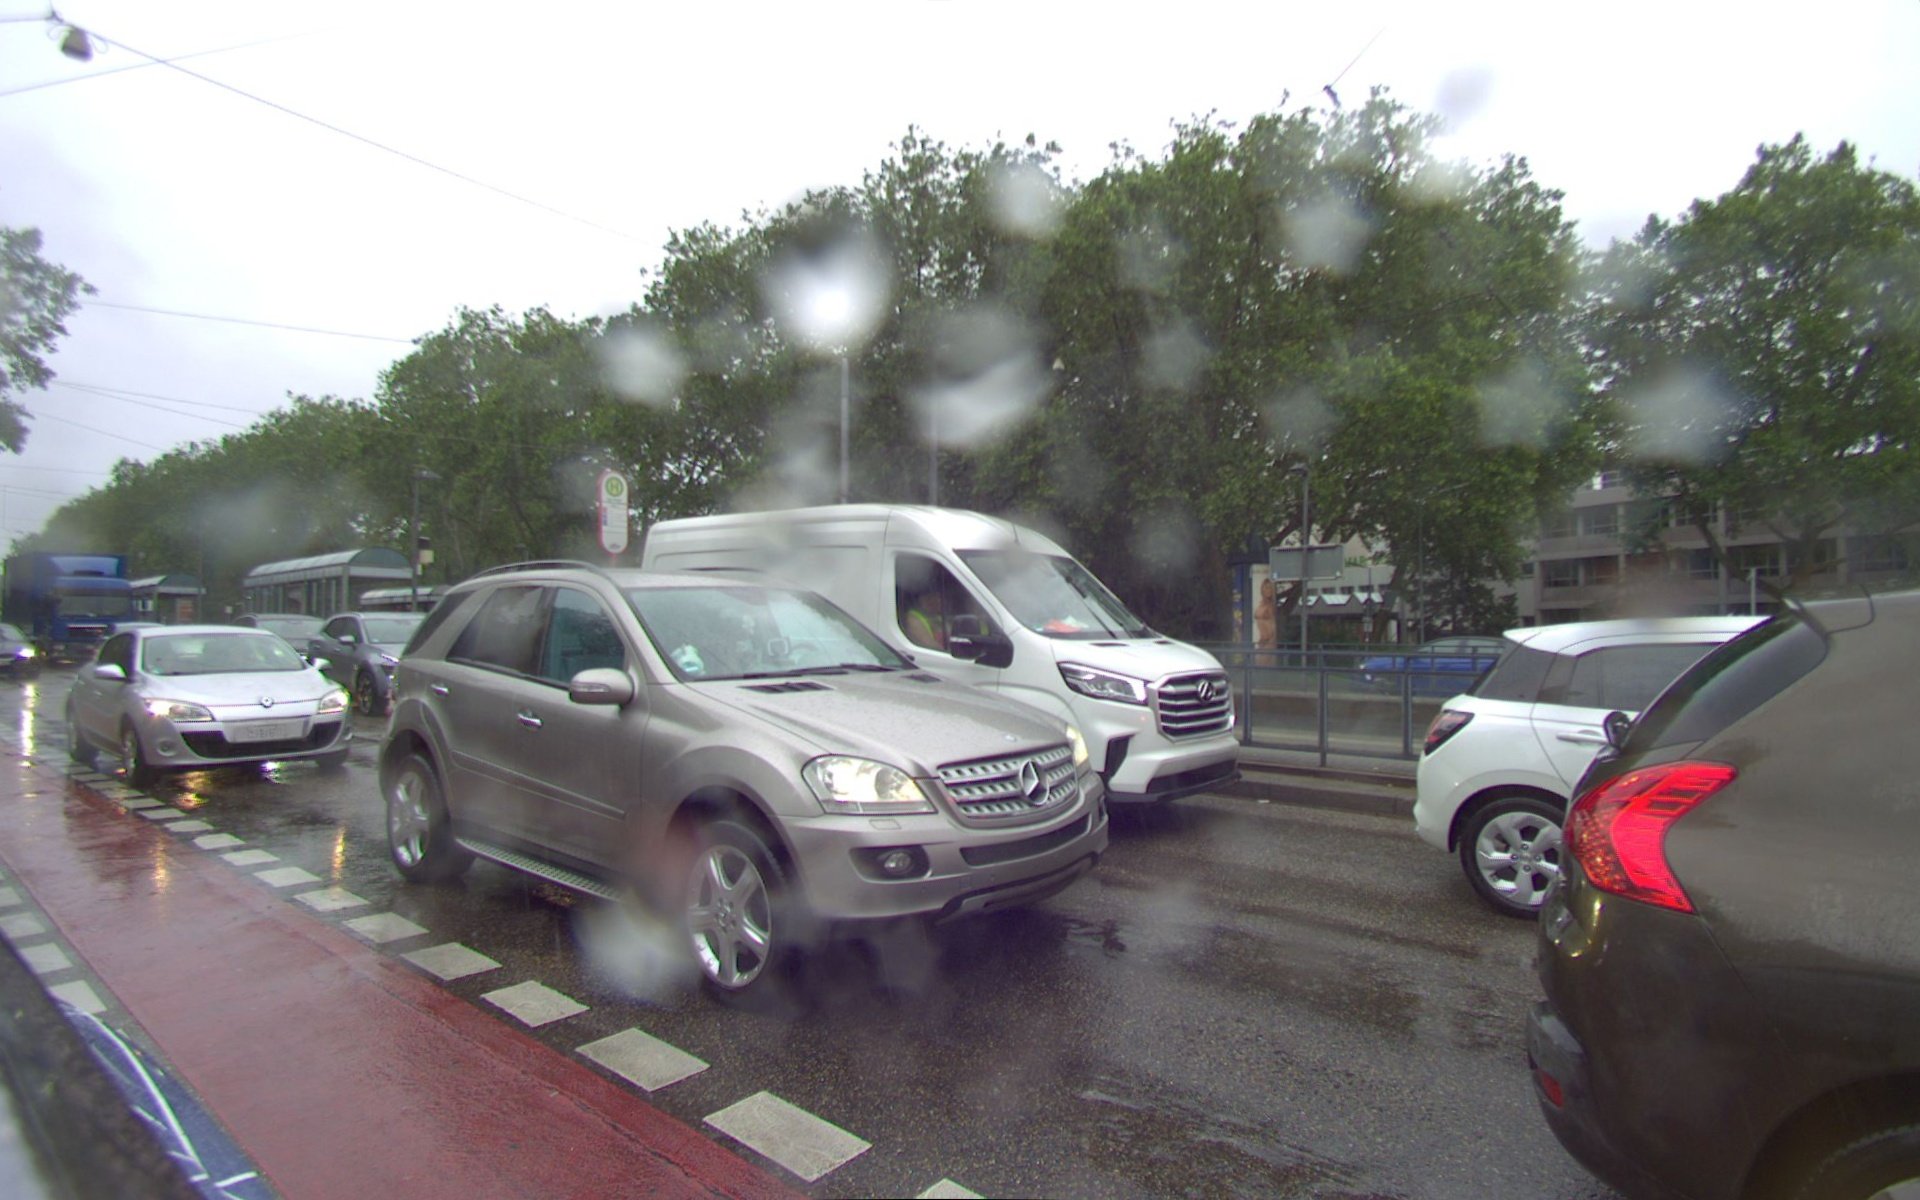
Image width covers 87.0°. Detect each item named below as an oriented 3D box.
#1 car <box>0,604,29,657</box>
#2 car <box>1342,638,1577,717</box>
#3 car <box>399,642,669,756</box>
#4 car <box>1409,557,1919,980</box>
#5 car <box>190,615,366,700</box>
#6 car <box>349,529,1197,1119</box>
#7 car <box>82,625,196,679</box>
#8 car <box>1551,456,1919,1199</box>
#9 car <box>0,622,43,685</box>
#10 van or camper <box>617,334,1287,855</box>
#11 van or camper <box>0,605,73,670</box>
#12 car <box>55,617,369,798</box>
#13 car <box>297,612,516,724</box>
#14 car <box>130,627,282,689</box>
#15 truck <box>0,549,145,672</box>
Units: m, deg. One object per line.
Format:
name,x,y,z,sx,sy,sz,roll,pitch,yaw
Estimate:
car,-46.804,1.489,49.078,5.727,2.445,1.972,-1,0,43
car,10.310,1.525,21.027,3.998,1.397,1.973,-1,-1,41
car,-5.448,1.131,12.704,4.084,1.126,1.448,-1,-1,40
car,4.278,0.667,4.536,3.834,1.641,1.628,-1,-2,41
car,-14.647,1.164,21.671,4.316,1.633,1.974,-1,-2,40
car,-1.263,0.712,5.287,4.459,1.783,2.004,-1,-1,40
car,-24.452,1.493,30.093,4.074,1.498,1.871,-1,-2,40
car,3.288,0.591,1.230,4.170,1.681,1.815,-1,-1,41
car,-25.838,1.366,26.720,3.997,1.590,1.875,-1,-2,40
van or camper,-0.407,0.027,8.837,5.846,3.166,2.136,-1,-2,40
van or camper,-40.042,1.569,43.538,6.427,2.590,1.973,-1,0,41
car,-7.814,0.939,10.441,3.998,1.489,1.750,-1,-1,40
car,-9.426,1.057,17.093,4.454,1.636,1.894,-1,-2,43
car,-18.829,1.382,25.196,4.602,1.405,1.973,-1,-3,40
truck,-32.224,0.451,36.360,9.803,3.919,2.513,-1,-3,40
